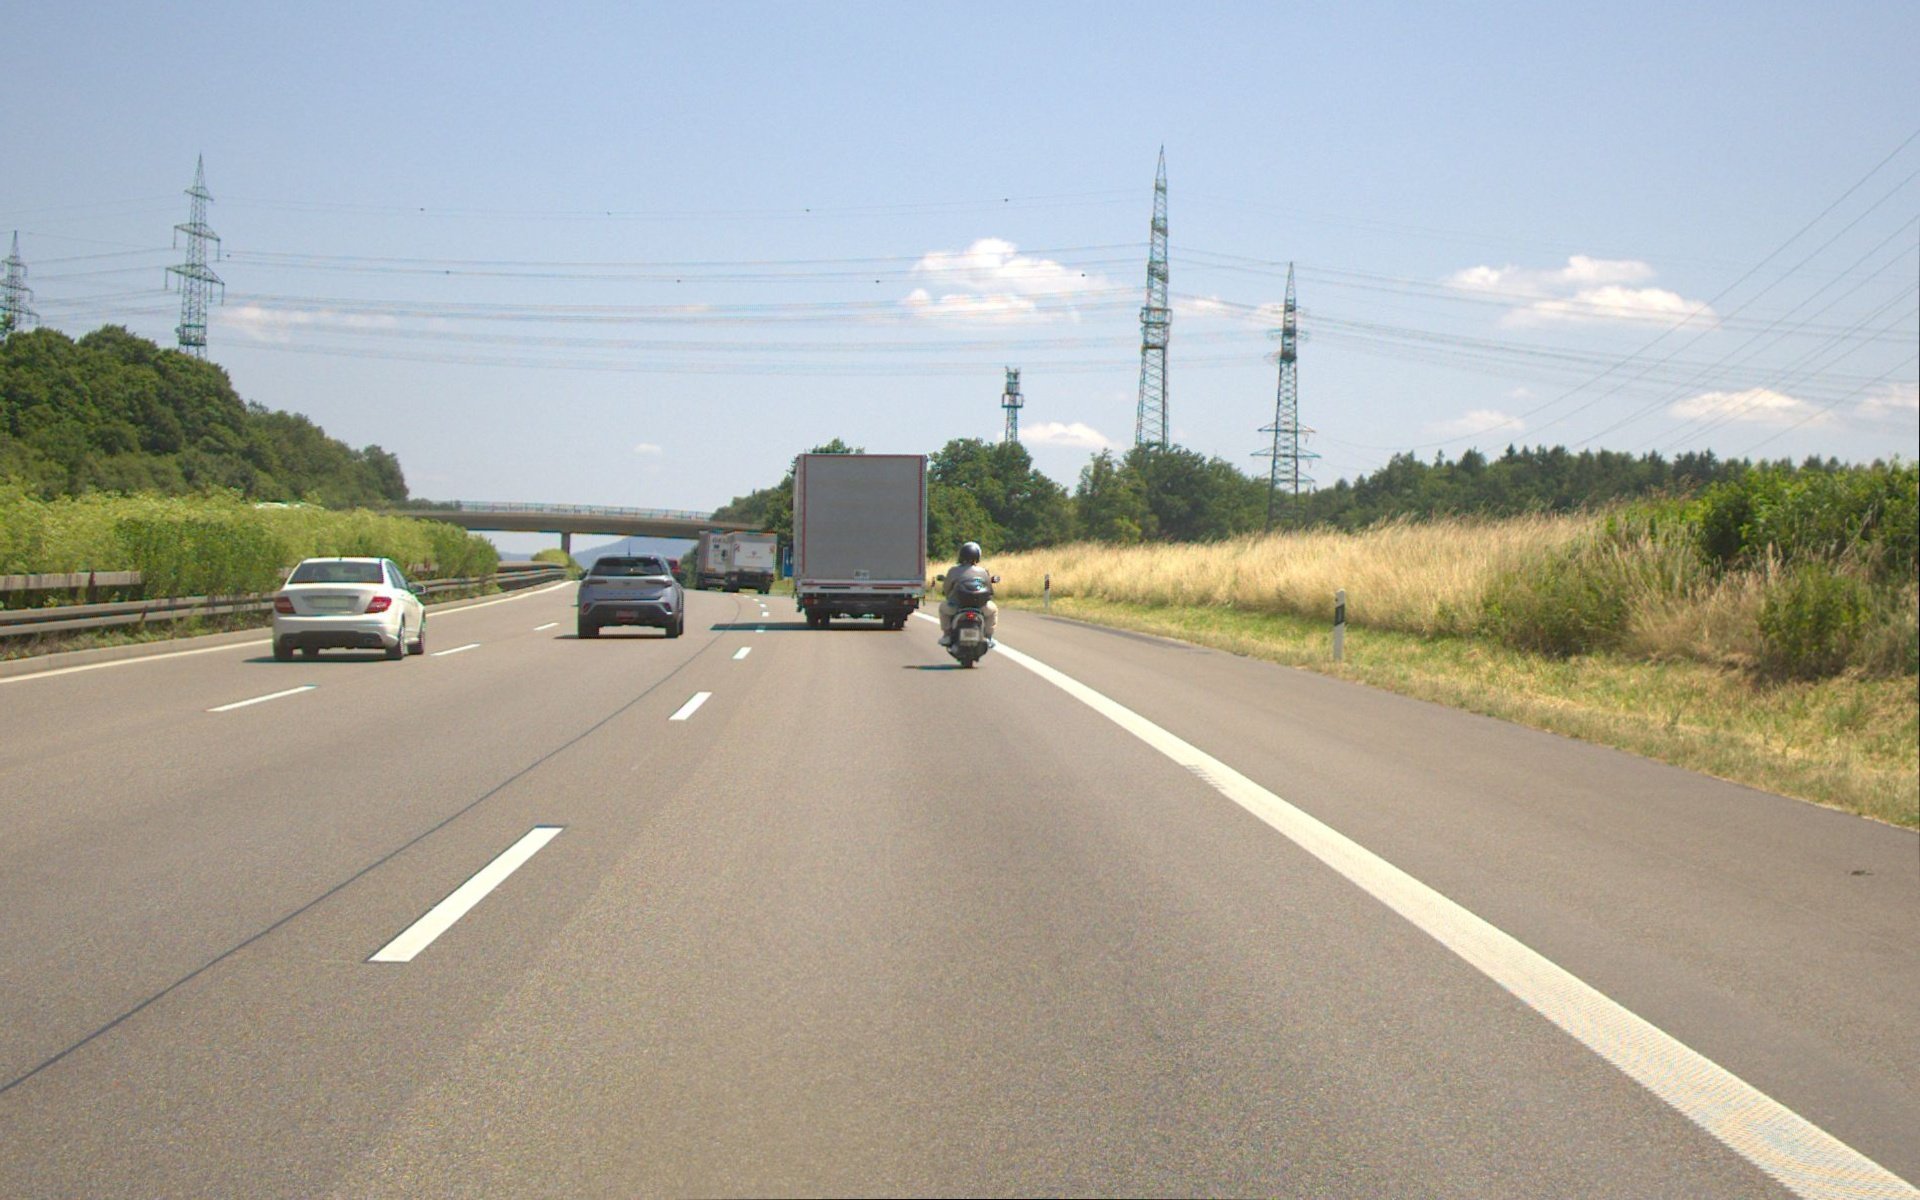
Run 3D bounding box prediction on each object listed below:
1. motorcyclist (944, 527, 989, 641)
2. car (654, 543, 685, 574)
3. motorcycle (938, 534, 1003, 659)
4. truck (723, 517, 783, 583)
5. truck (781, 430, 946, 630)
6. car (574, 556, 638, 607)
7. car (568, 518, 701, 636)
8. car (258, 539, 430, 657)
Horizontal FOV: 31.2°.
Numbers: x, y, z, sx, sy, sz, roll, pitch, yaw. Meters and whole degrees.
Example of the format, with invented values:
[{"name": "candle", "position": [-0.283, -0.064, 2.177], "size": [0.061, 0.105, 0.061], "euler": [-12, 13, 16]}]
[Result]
[{"name": "motorcyclist", "position": [0.083, -0.220, 45.030], "size": [0.572, 1.474, 0.700], "euler": [0, 1, -1]}, {"name": "car", "position": [-18.643, -2.677, 221.061], "size": [1.901, 1.919, 4.001], "euler": [0, 2, -4]}, {"name": "motorcycle", "position": [0.127, -0.058, 45.101], "size": [0.809, 1.602, 1.782], "euler": [0, 1, -1]}, {"name": "truck", "position": [-12.568, -3.049, 208.307], "size": [3.483, 3.899, 7.291], "euler": [0, 1, -4]}, {"name": "truck", "position": [-1.996, -1.460, 72.255], "size": [3.221, 3.910, 9.061], "euler": [0, 1, -1]}, {"name": "car", "position": [-10.403, -0.560, 101.135], "size": [1.756, 1.424, 4.001], "euler": [0, 2, -4]}, {"name": "car", "position": [-5.787, -0.445, 61.492], "size": [1.993, 2.007, 4.000], "euler": [0, 2, 0]}, {"name": "car", "position": [-8.569, -0.066, 48.112], "size": [1.819, 1.535, 3.915], "euler": [0, 2, -2]}]
